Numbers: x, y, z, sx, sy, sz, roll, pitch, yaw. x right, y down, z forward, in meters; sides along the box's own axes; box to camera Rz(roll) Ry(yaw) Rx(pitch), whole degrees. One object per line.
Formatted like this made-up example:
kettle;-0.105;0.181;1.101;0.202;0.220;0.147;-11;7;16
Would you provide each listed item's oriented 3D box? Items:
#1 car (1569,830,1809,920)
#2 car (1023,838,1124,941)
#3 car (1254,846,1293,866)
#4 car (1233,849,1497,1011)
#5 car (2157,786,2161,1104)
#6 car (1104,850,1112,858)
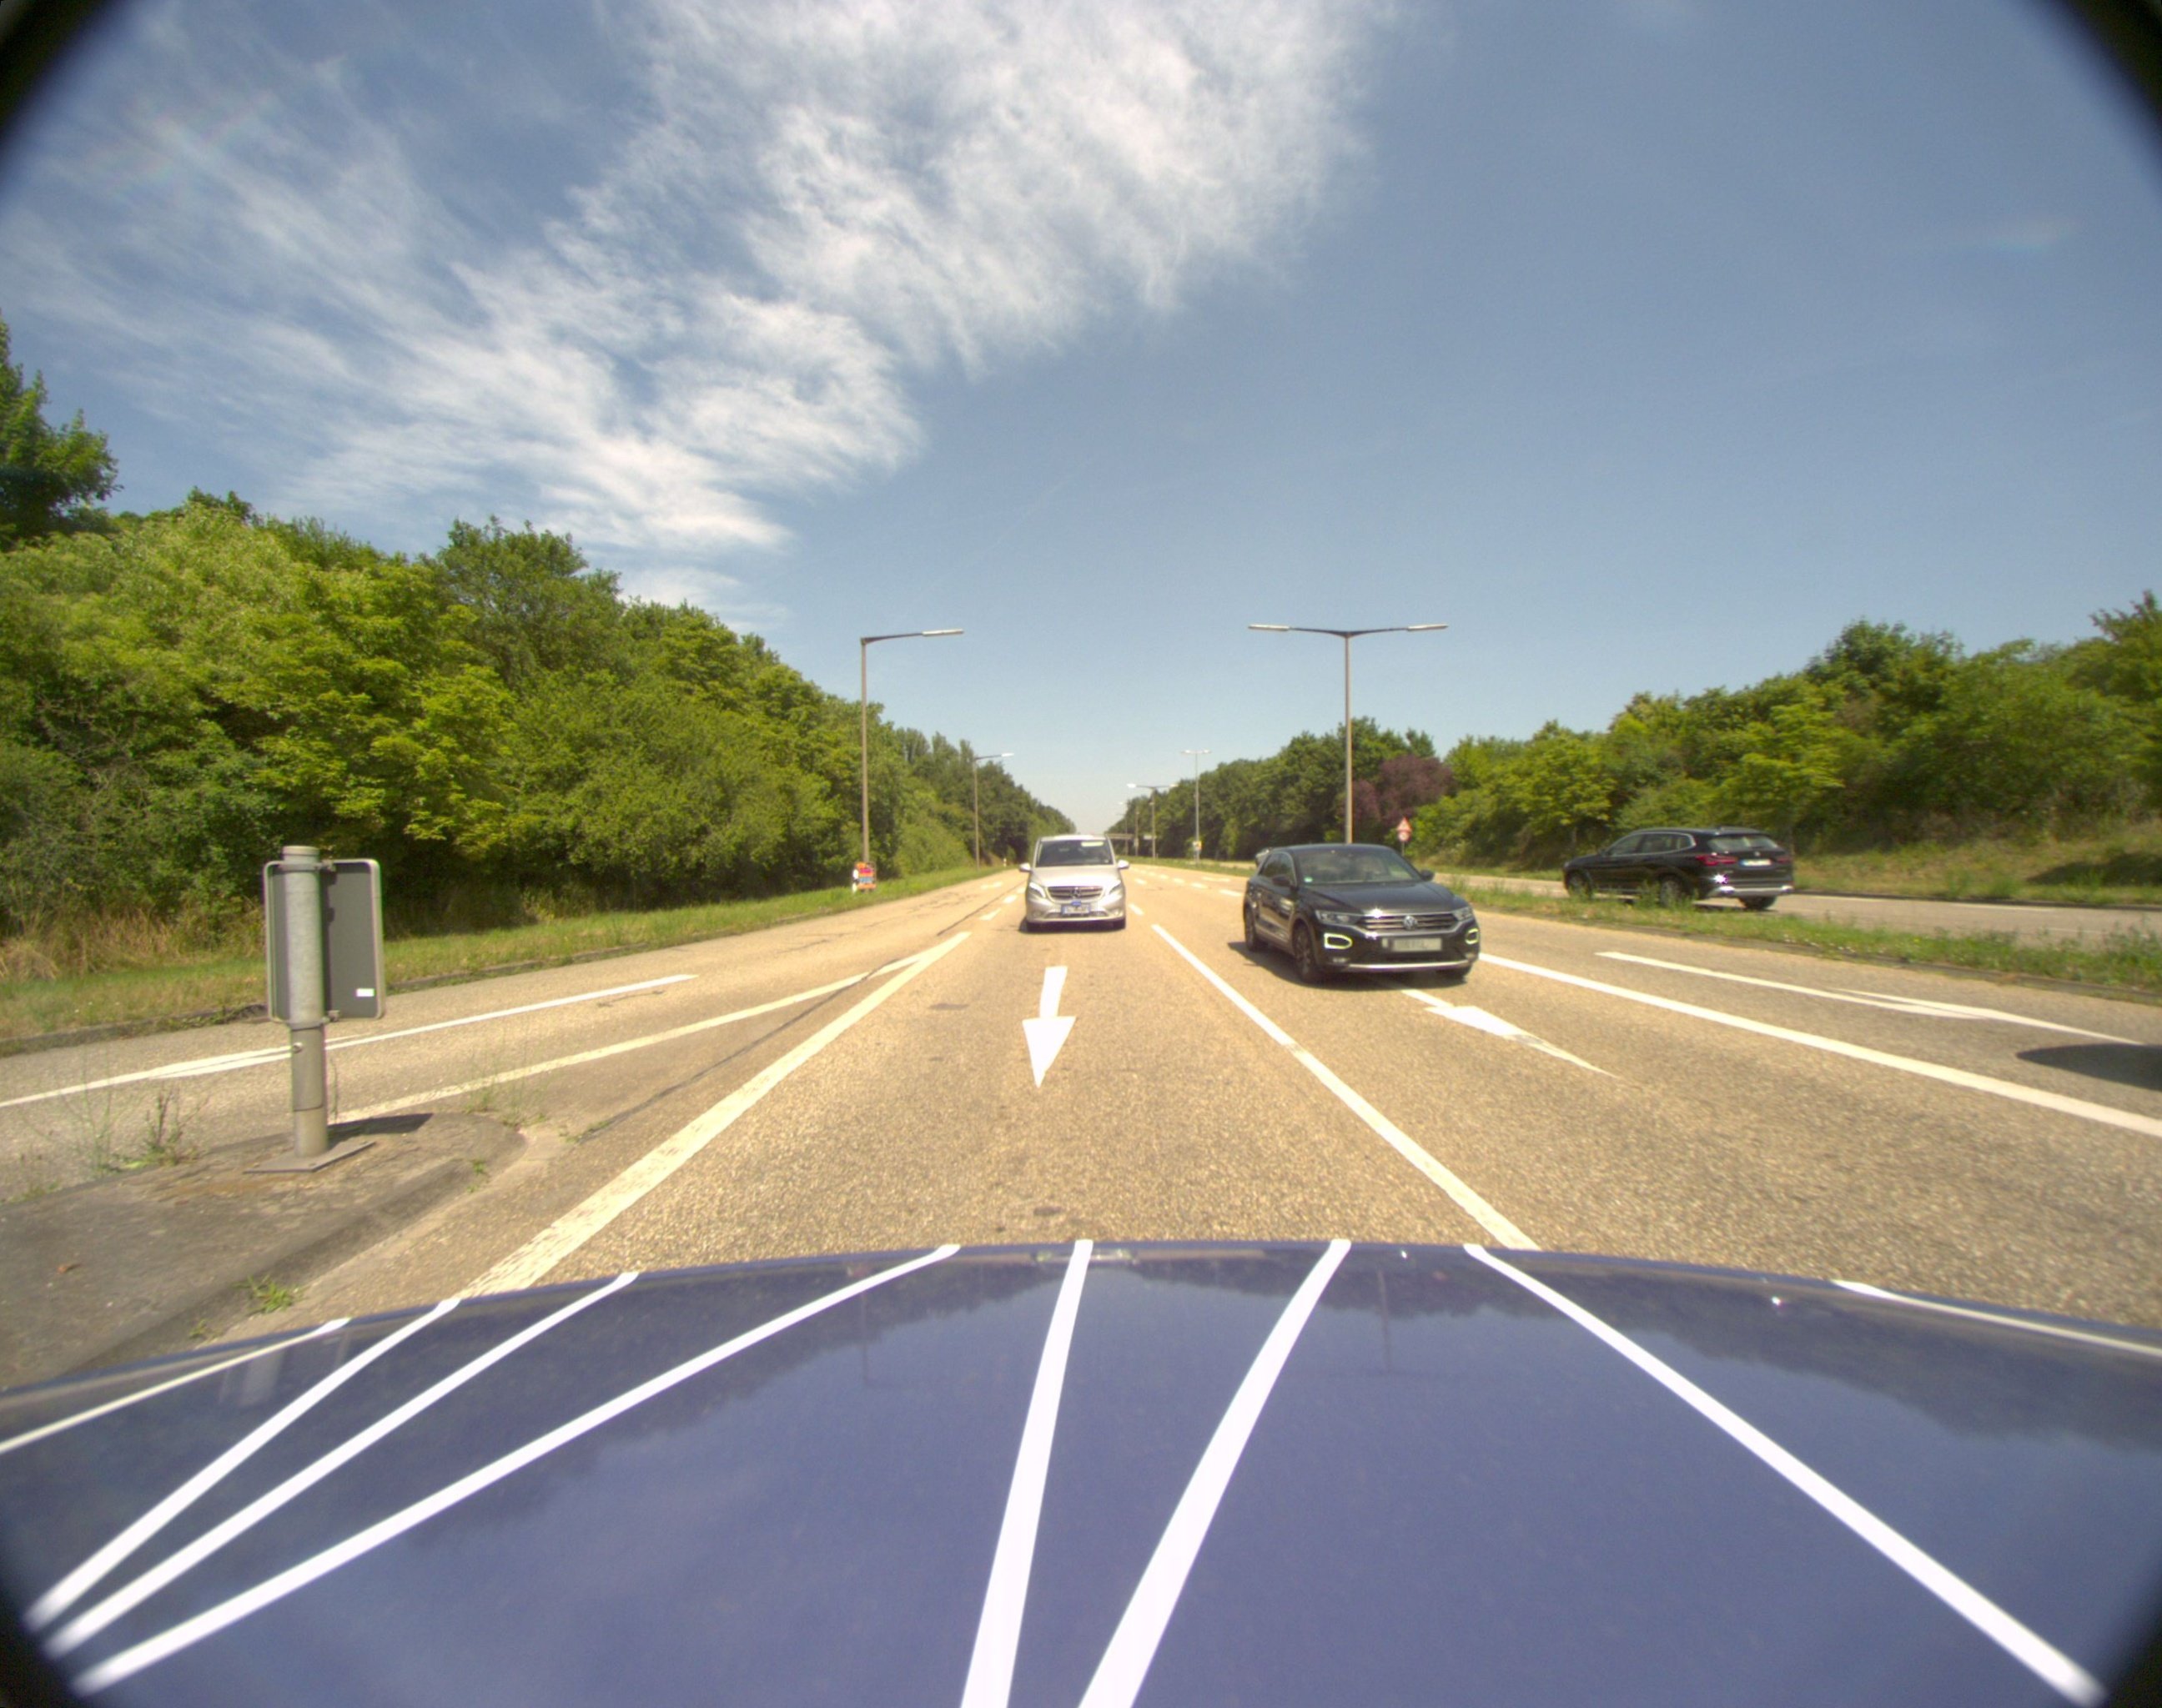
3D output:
car;12.557;0.374;16.103;1.711;1.653;4.222;-1;0;0
car;-0.137;0.617;16.197;1.764;1.795;4.854;-2;1;0
car;14.932;0.135;59.088;1.827;1.447;4.167;-1;1;-2
car;3.184;0.735;9.426;1.739;1.503;3.970;-2;1;0
car;7.028;0.524;2.190;1.735;1.815;4.321;-1;1;0
car;6.850;-0.031;193.750;1.735;1.815;4.321;-1;1;0
